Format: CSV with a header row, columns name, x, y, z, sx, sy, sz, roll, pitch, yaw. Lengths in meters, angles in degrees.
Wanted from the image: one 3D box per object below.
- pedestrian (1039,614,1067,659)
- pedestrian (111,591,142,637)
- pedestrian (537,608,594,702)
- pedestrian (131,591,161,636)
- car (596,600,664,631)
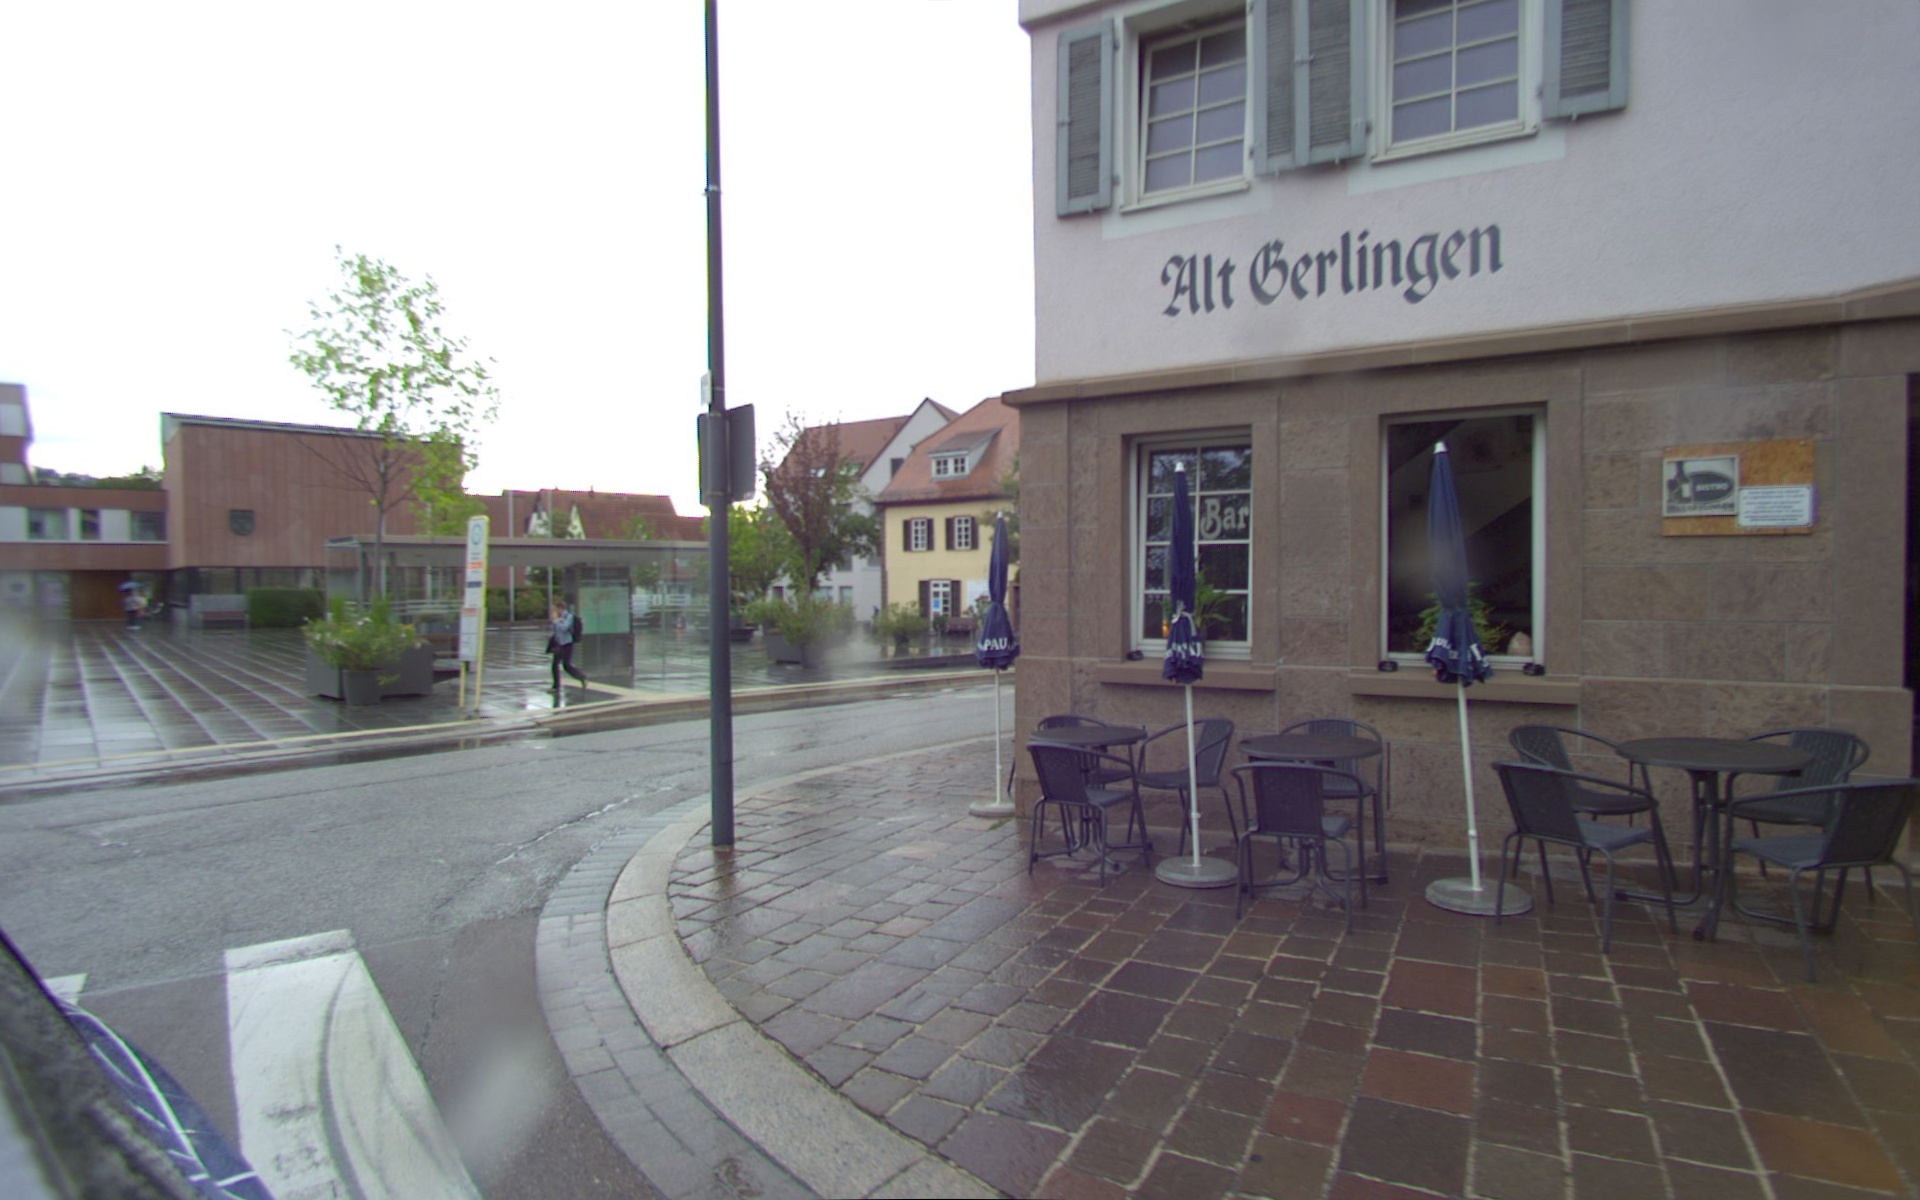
name,x,y,z,sx,sy,sz,roll,pitch,yaw
pedestrian,3.546,1.397,38.620,0.853,1.706,0.718,1,-1,-15
pedestrian,-37.334,0.610,45.343,0.720,2.029,0.864,1,0,-8
pedestrian,-7.090,0.964,18.190,0.729,1.629,0.685,1,0,38
pedestrian,-37.218,0.592,46.286,0.720,2.029,0.864,1,0,-8
car,-24.125,1.110,74.153,4.311,2.234,2.002,0,0,-44
